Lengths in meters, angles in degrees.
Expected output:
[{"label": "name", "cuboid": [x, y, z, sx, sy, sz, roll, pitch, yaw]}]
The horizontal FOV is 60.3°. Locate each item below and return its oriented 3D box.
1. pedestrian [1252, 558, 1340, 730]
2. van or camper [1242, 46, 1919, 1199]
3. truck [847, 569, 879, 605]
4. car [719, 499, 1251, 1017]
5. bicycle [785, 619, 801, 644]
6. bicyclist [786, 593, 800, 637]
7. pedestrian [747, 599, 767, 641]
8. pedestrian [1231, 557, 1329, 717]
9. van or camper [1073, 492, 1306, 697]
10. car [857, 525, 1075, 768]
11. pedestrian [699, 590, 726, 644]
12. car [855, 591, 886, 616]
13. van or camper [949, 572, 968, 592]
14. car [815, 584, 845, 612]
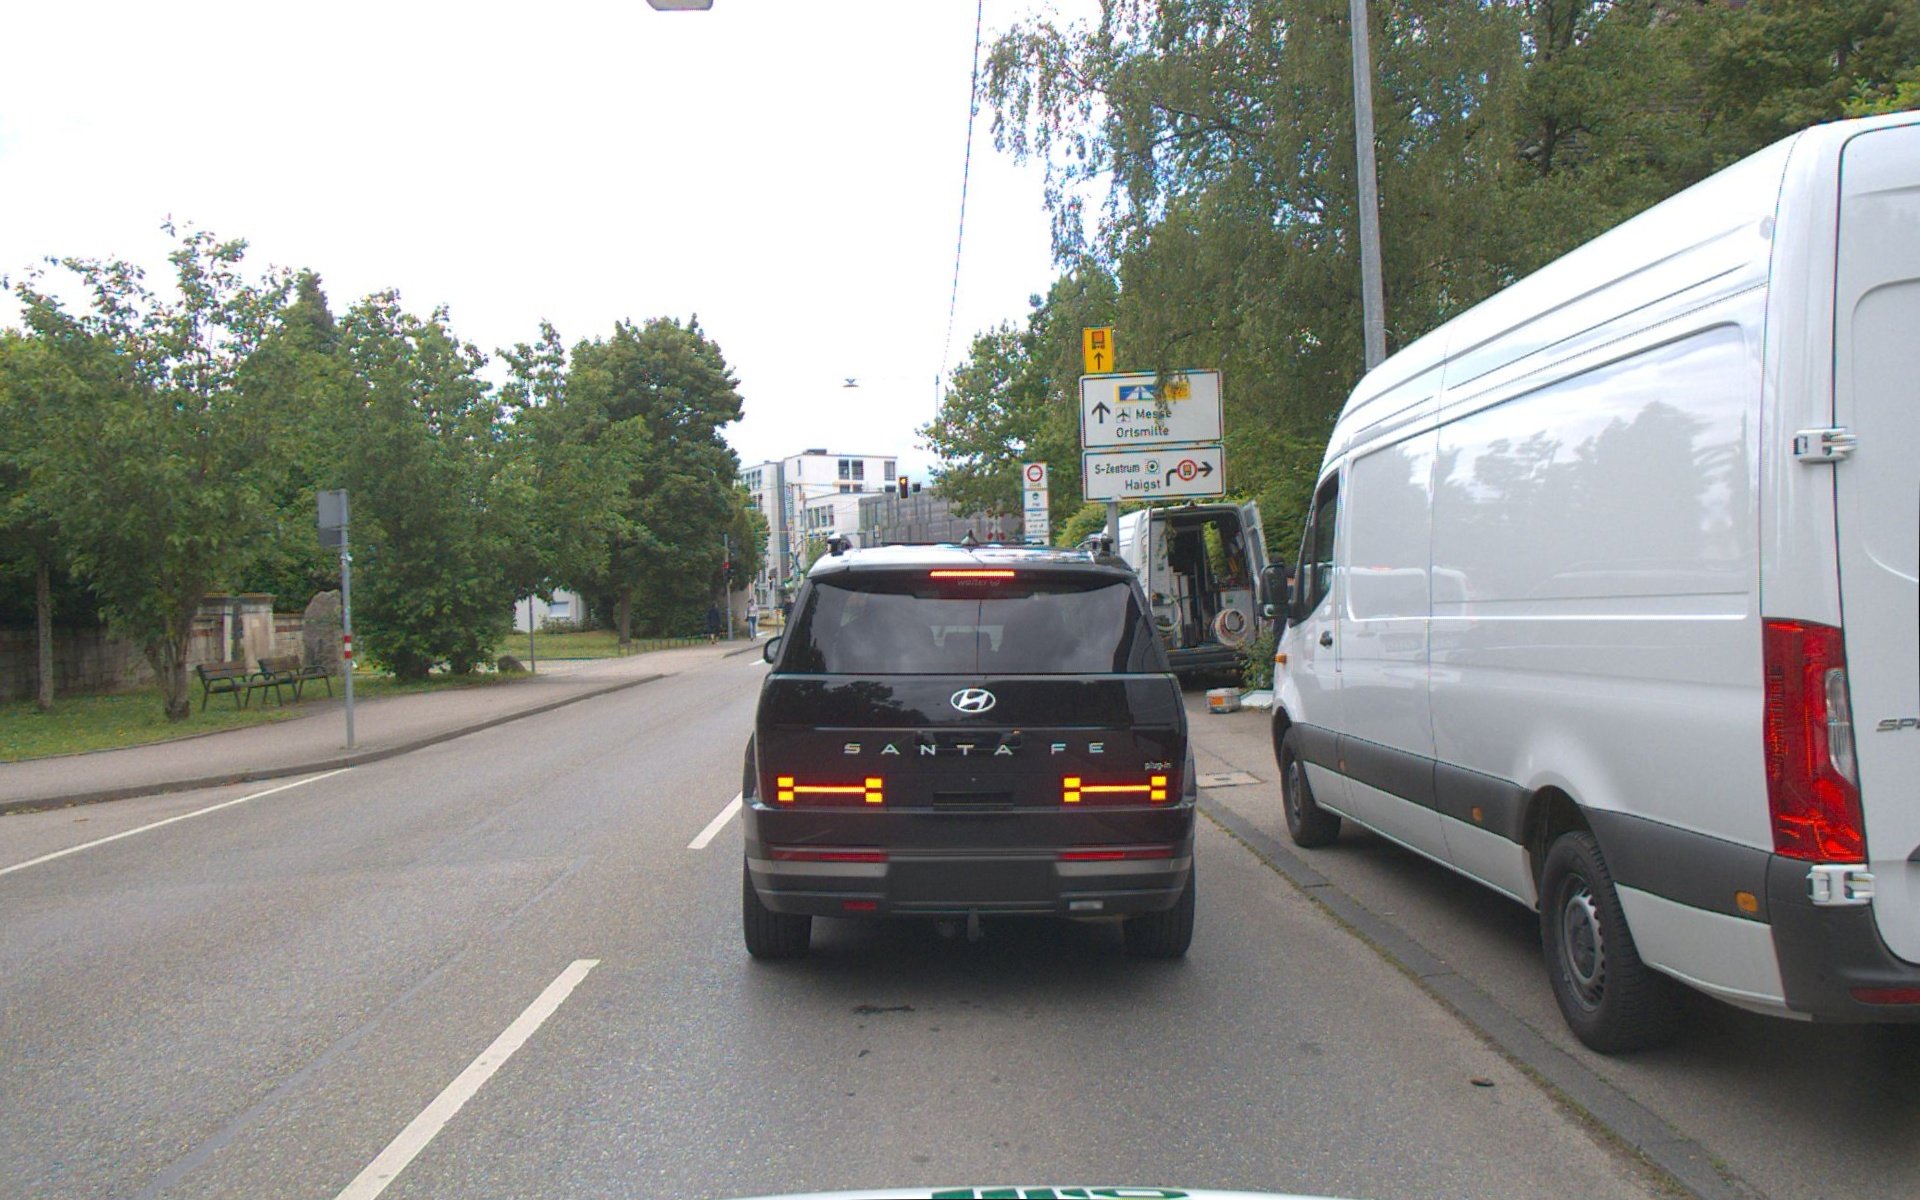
[{"label": "pedestrian", "cuboid": [3.415, 0.444, 16.869, 0.721, 1.672, 0.802, -3, -1, 5]}, {"label": "van or camper", "cuboid": [2.873, 0.032, 7.035, 1.951, 2.670, 6.543, -5, 0, -1]}, {"label": "truck", "cuboid": [-11.044, -1.437, 187.003, 3.048, 3.926, 9.607, -2, 0, -6]}, {"label": "car", "cuboid": [0.066, 0.570, 7.865, 1.858, 1.807, 3.993, 1, 0, -1]}, {"label": "bicycle", "cuboid": [-6.586, 1.233, 65.235, 0.485, 0.981, 1.748, 1, 0, -1]}, {"label": "bicyclist", "cuboid": [-6.577, 0.583, 65.182, 0.477, 1.713, 0.588, 1, -1, -1]}, {"label": "pedestrian", "cuboid": [-8.687, 0.836, 70.861, 0.752, 1.779, 0.904, 0, 0, -3]}, {"label": "pedestrian", "cuboid": [3.592, 0.405, 18.574, 0.745, 1.751, 0.781, 1, -1, -39]}, {"label": "van or camper", "cuboid": [3.287, -0.026, 25.317, 2.294, 2.537, 6.600, -5, -1, -2]}, {"label": "car", "cuboid": [0.024, 0.412, 16.330, 1.858, 2.077, 3.993, 1, 0, -1]}, {"label": "pedestrian", "cuboid": [-9.457, 0.649, 63.107, 0.812, 2.049, 1.047, 1, -1, 1]}, {"label": "car", "cuboid": [-5.641, 0.236, 104.656, 1.721, 1.427, 4.413, -4, 0, -1]}, {"label": "van or camper", "cuboid": [-0.171, -1.898, 172.505, 1.760, 2.033, 3.820, 1, 0, -4]}, {"label": "car", "cuboid": [-11.345, -0.166, 144.074, 2.288, 2.356, 4.950, -2, 0, -7]}]
